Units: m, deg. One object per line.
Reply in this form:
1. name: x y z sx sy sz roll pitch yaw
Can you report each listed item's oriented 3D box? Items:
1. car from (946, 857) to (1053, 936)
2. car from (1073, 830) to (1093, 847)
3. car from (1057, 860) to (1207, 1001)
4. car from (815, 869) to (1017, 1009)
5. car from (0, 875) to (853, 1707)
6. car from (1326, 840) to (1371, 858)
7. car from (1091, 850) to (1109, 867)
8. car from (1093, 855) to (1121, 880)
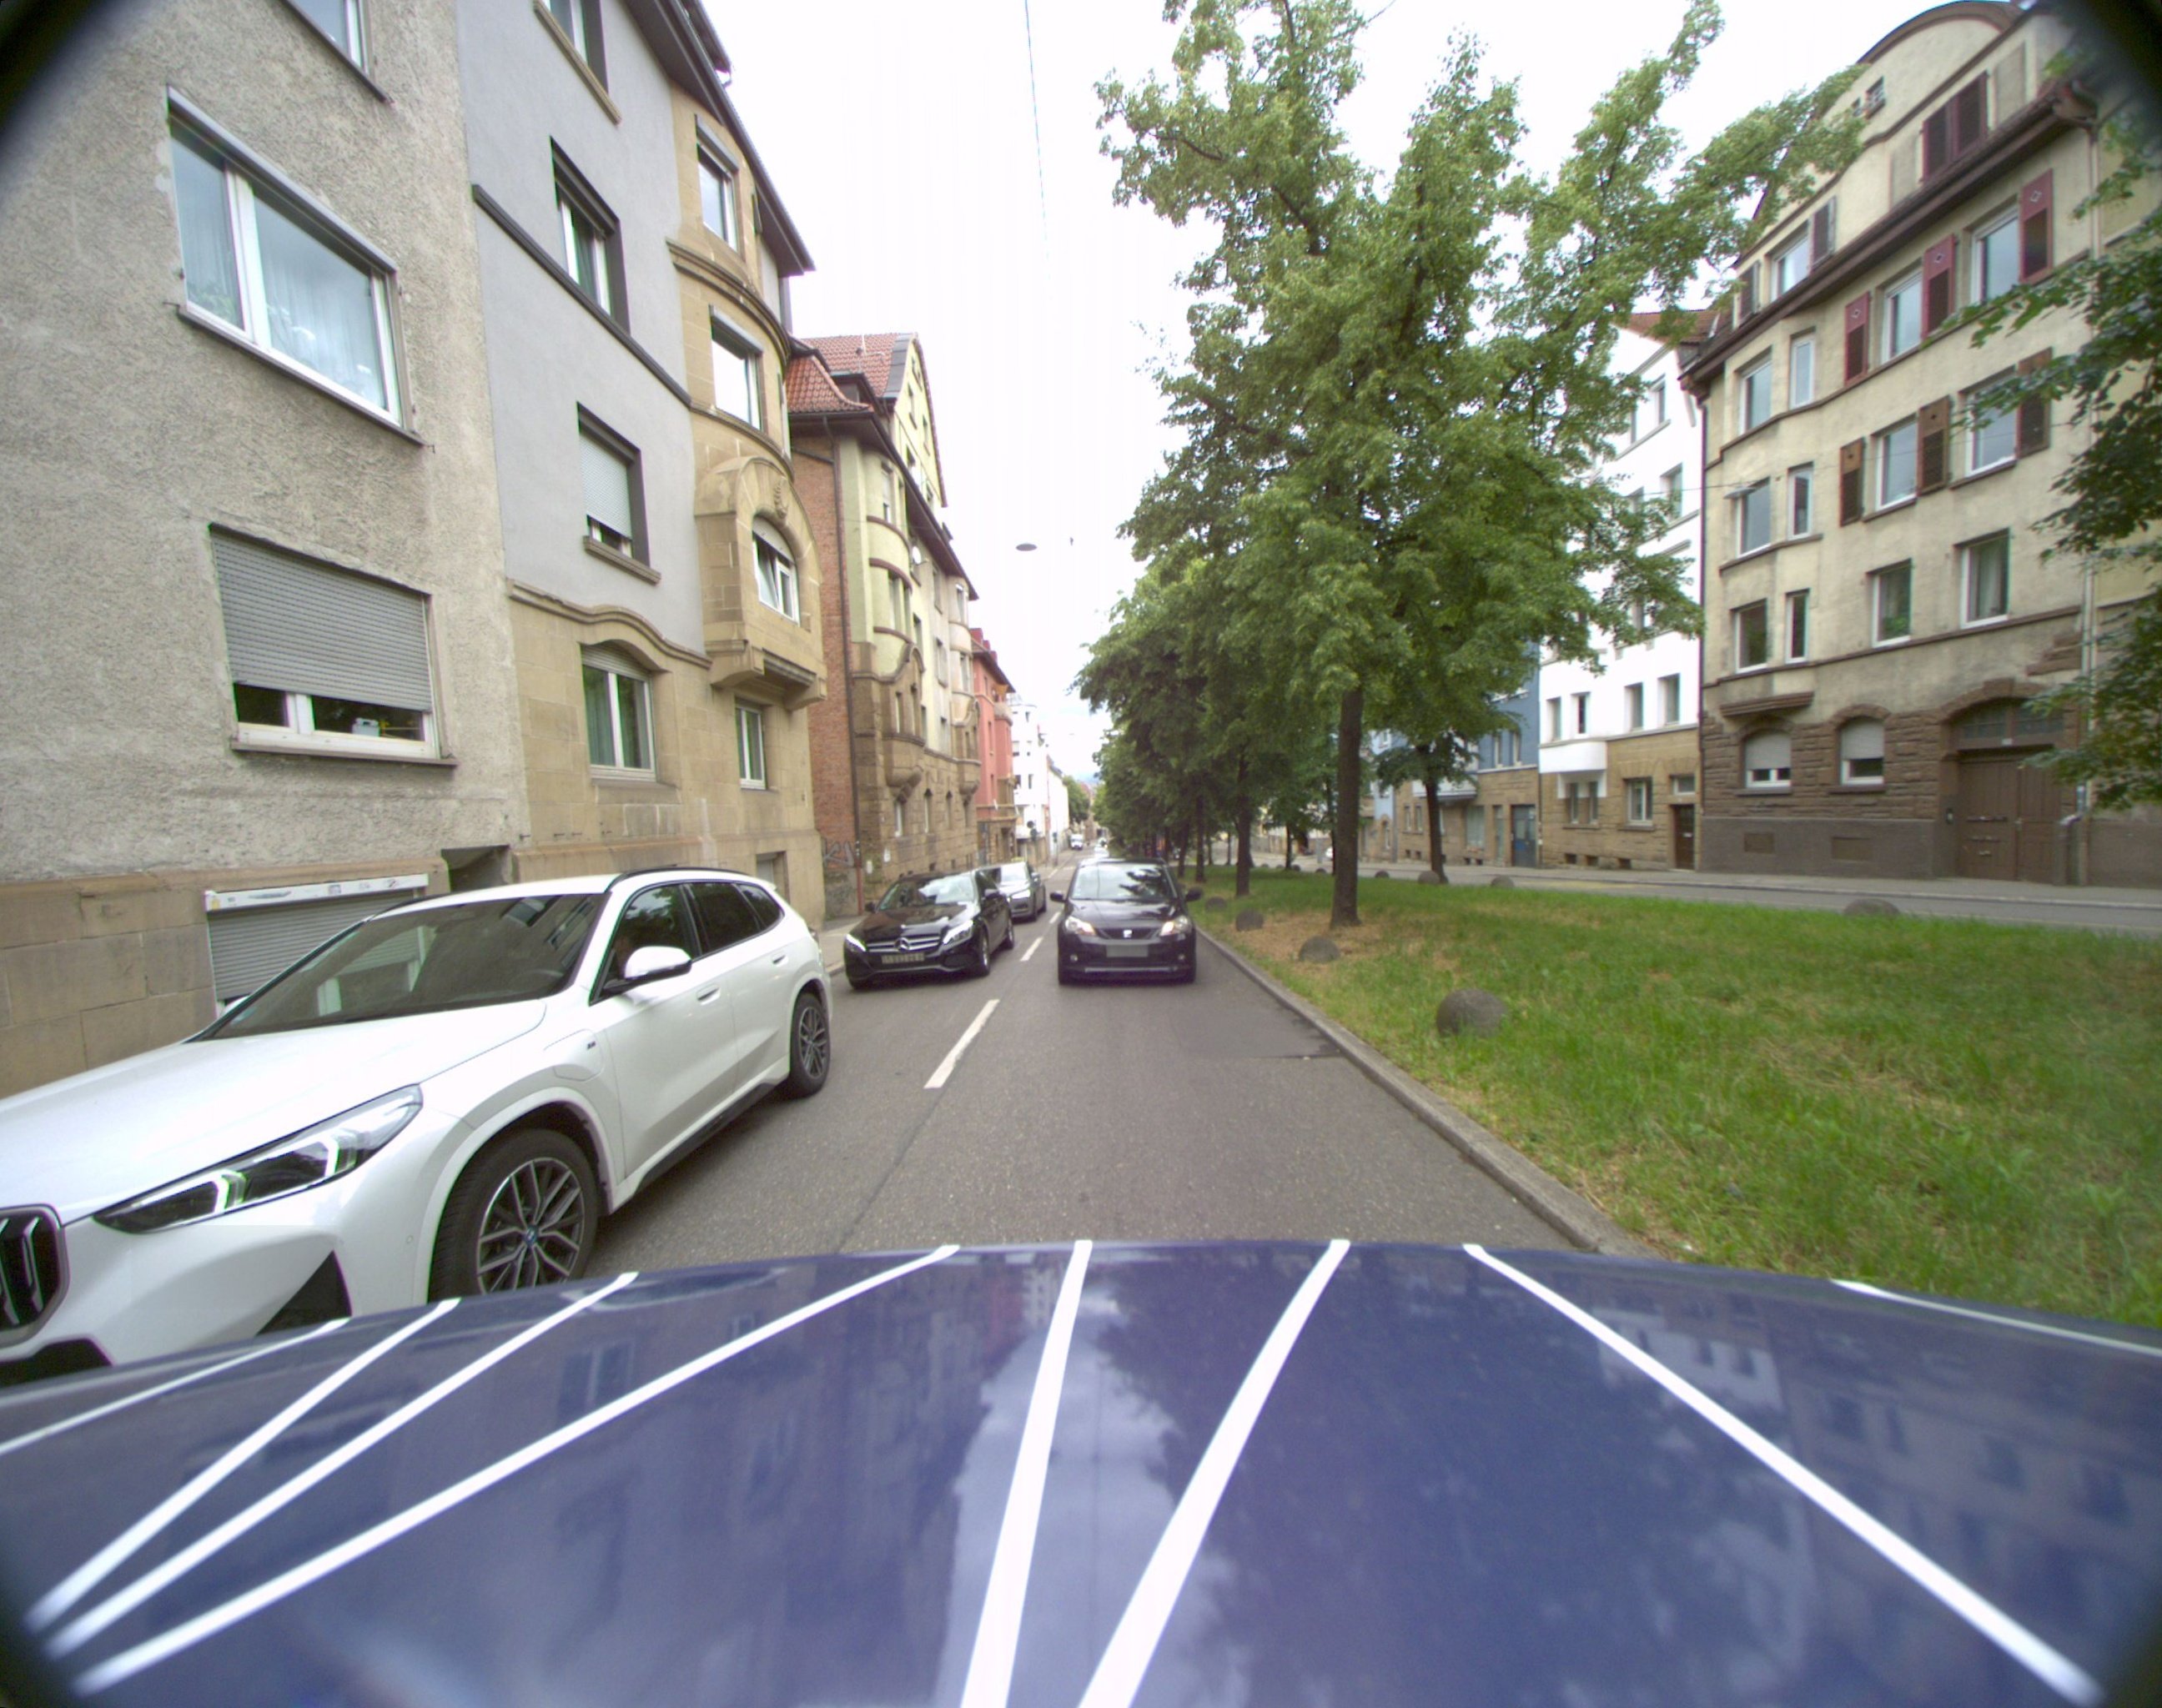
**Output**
1. car: -1.911 0.958 19.173 1.936 1.506 4.303 -6 1 2
2. car: 0.453 -2.836 138.357 2.715 2.879 6.456 -2 1 8
3. car: 0.576 0.839 9.870 1.611 1.457 3.296 0 1 1
4. car: -2.158 1.065 11.228 1.884 1.369 4.205 -6 1 1
5. car: -2.796 1.063 3.745 1.859 1.547 4.350 -6 1 0
6. car: 22.198 -0.415 63.108 3.291 1.323 1.672 -2 1 10
7. car: 1.844 0.425 73.431 1.607 1.492 3.737 -2 1 1
8. car: 1.666 0.834 49.295 1.664 1.456 3.580 -2 1 1
